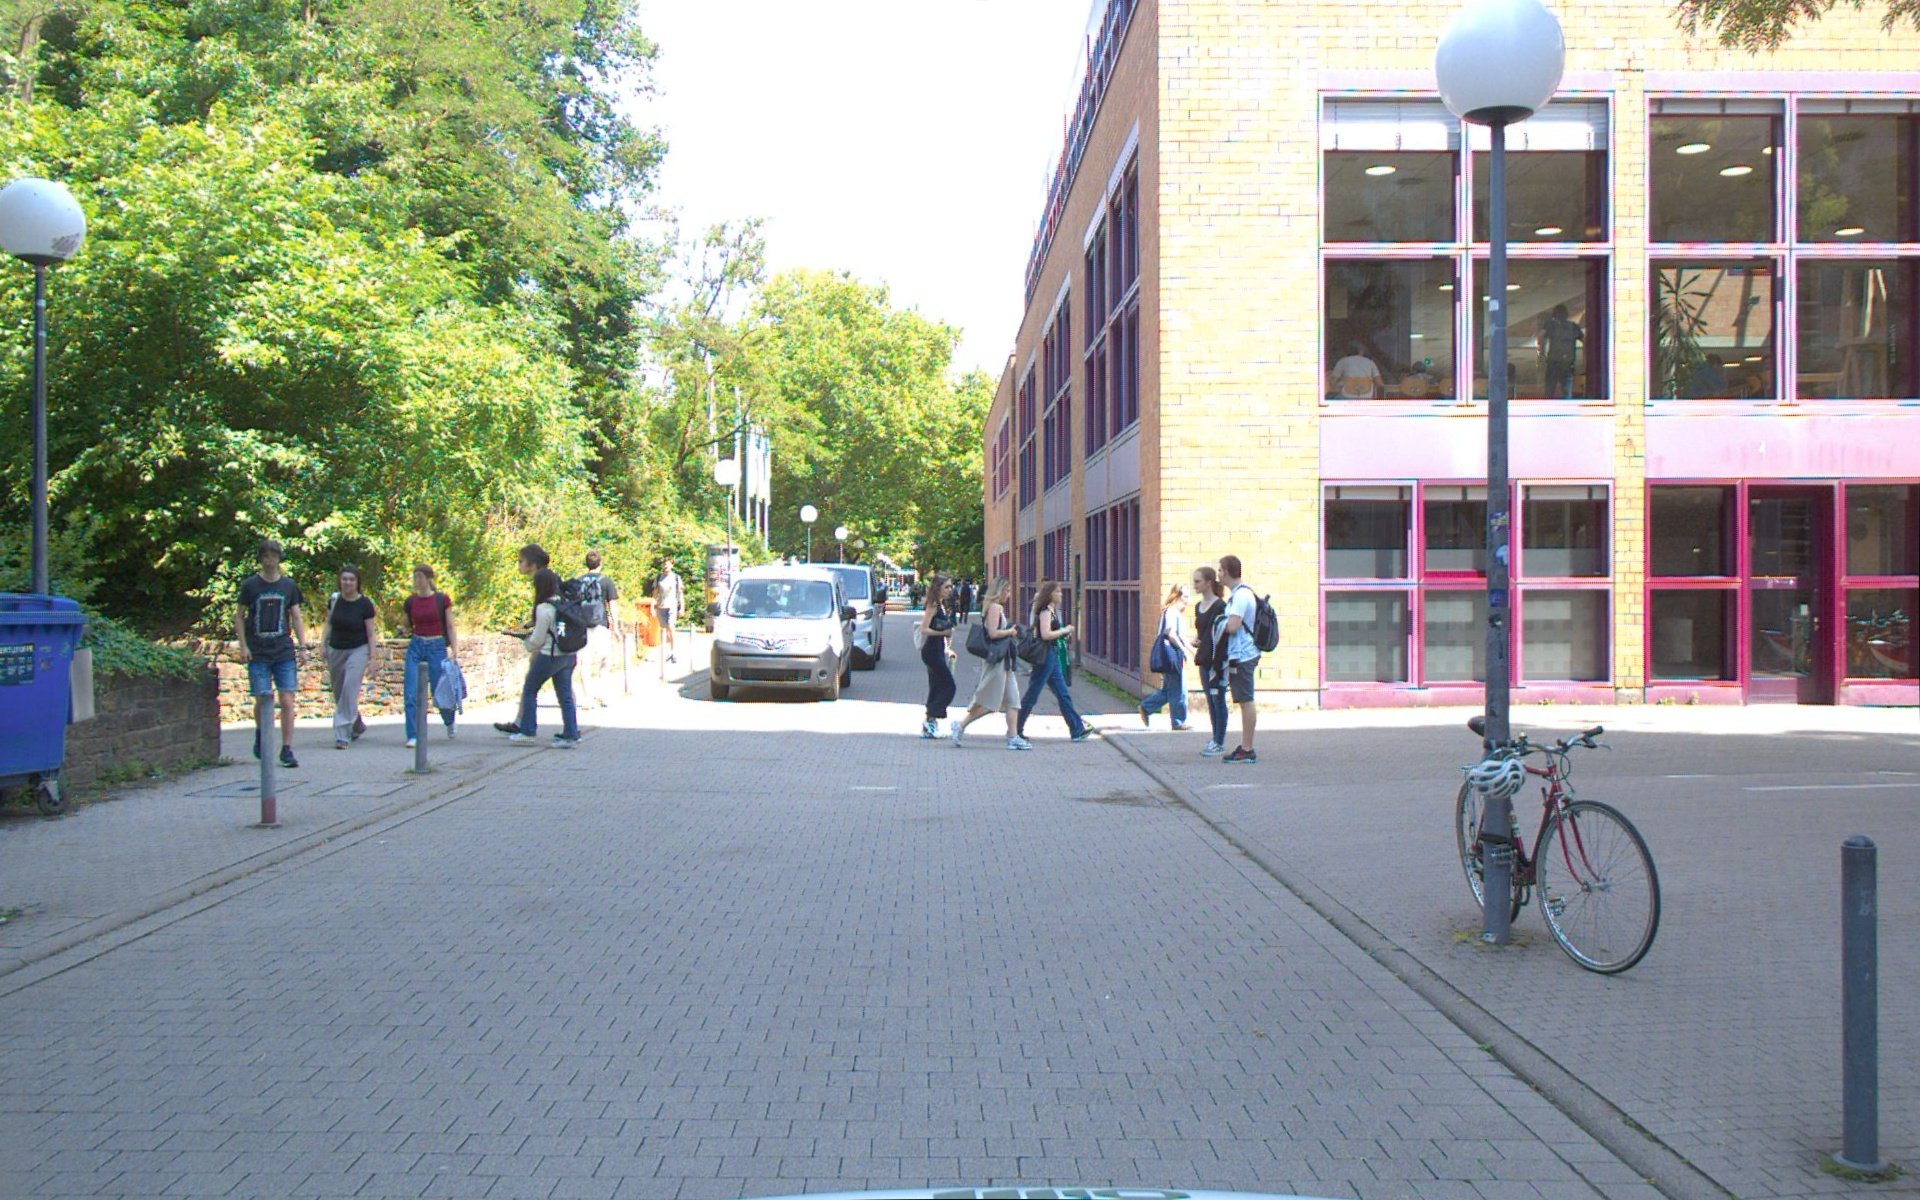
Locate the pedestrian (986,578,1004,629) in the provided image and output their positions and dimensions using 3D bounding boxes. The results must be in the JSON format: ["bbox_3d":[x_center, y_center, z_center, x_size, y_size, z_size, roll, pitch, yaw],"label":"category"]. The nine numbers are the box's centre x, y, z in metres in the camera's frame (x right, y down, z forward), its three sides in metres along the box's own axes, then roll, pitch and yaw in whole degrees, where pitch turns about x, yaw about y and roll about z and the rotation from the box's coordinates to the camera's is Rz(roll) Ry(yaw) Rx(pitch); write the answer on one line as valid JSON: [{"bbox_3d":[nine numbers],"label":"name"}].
[{"bbox_3d":[1.173,0.133,55.648,0.574,1.702,0.699,0,-1,0],"label":"pedestrian"}]

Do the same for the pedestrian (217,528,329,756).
[{"bbox_3d":[-5.541,0.333,13.384,0.671,1.758,1.016,2,-1,-16],"label":"pedestrian"}]

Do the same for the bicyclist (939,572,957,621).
[{"bbox_3d":[-0.441,-0.117,59.697,0.575,1.746,0.665,1,0,-5],"label":"bicyclist"}]

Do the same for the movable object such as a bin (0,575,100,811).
[{"bbox_3d":[-5.930,0.539,9.936,0.694,1.359,1.240,3,0,9],"label":"movable object such as a bin"}]

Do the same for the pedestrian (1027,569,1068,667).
[{"bbox_3d":[1.621,0.337,30.834,0.668,1.777,0.783,1,-1,-1],"label":"pedestrian"}]

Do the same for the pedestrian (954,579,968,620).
[{"bbox_3d":[0.057,0.001,69.271,0.574,1.702,0.817,0,-1,0],"label":"pedestrian"}]

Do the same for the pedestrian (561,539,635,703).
[{"bbox_3d":[-4.267,0.248,19.543,0.668,1.876,0.783,1,-1,-1],"label":"pedestrian"}]

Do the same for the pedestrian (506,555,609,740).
[{"bbox_3d":[-3.699,0.433,15.235,0.765,1.649,0.684,1,-1,-4],"label":"pedestrian"}]

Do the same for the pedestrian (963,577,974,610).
[{"bbox_3d":[0.476,-0.370,97.307,0.640,1.956,0.817,0,-1,0],"label":"pedestrian"}]

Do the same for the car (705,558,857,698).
[{"bbox_3d":[-2.450,0.344,23.603,1.754,1.792,4.480,1,0,-1],"label":"car"}]

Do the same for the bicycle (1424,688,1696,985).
[{"bbox_3d":[2.458,0.918,6.970,0.441,0.978,1.739,-2,0,-2],"label":"bicycle"}]

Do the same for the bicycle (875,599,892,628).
[{"bbox_3d":[-3.068,0.536,66.285,0.575,1.102,1.812,1,0,-4],"label":"bicycle"}]

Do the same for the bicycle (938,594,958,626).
[{"bbox_3d":[-0.446,0.349,59.679,0.575,1.102,1.906,1,0,-4],"label":"bicycle"}]

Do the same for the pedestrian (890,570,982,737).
[{"bbox_3d":[-0.242,0.543,17.235,0.867,1.701,0.644,-1,1,6],"label":"pedestrian"}]

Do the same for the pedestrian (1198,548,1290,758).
[{"bbox_3d":[2.515,0.464,14.712,0.750,1.826,0.588,0,-1,6],"label":"pedestrian"}]

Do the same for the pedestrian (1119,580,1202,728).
[{"bbox_3d":[2.180,0.574,18.022,0.867,1.569,0.743,-1,0,6],"label":"pedestrian"}]

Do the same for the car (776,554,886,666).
[{"bbox_3d":[-2.450,0.157,32.536,1.845,2.008,5.213,1,0,-1],"label":"car"}]

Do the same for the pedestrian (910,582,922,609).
[{"bbox_3d":[-2.791,-0.309,104.837,0.710,1.702,0.748,0,-1,0],"label":"pedestrian"}]

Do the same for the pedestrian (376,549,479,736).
[{"bbox_3d":[-4.871,0.385,15.184,0.669,1.649,0.912,1,-1,-6],"label":"pedestrian"}]

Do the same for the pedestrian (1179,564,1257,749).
[{"bbox_3d":[2.409,0.523,15.506,0.682,1.702,0.588,0,-1,6],"label":"pedestrian"}]

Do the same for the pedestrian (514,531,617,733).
[{"bbox_3d":[-3.788,0.305,15.921,0.809,1.876,0.684,1,-1,-4],"label":"pedestrian"}]

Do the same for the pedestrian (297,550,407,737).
[{"bbox_3d":[-5.558,0.389,15.162,0.669,1.649,0.977,1,-1,-6],"label":"pedestrian"}]

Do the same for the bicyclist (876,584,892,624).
[{"bbox_3d":[-3.048,0.165,66.253,0.575,1.600,0.828,1,0,-5],"label":"bicyclist"}]

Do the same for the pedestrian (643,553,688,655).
[{"bbox_3d":[-5.519,0.073,31.026,0.668,1.876,0.783,1,-1,-1],"label":"pedestrian"}]

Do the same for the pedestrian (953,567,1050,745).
[{"bbox_3d":[0.416,0.541,16.257,0.867,1.702,0.559,1,-1,6],"label":"pedestrian"}]

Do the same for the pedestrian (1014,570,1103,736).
[{"bbox_3d":[1.021,0.545,17.279,0.910,1.702,0.588,0,-1,1],"label":"pedestrian"}]
